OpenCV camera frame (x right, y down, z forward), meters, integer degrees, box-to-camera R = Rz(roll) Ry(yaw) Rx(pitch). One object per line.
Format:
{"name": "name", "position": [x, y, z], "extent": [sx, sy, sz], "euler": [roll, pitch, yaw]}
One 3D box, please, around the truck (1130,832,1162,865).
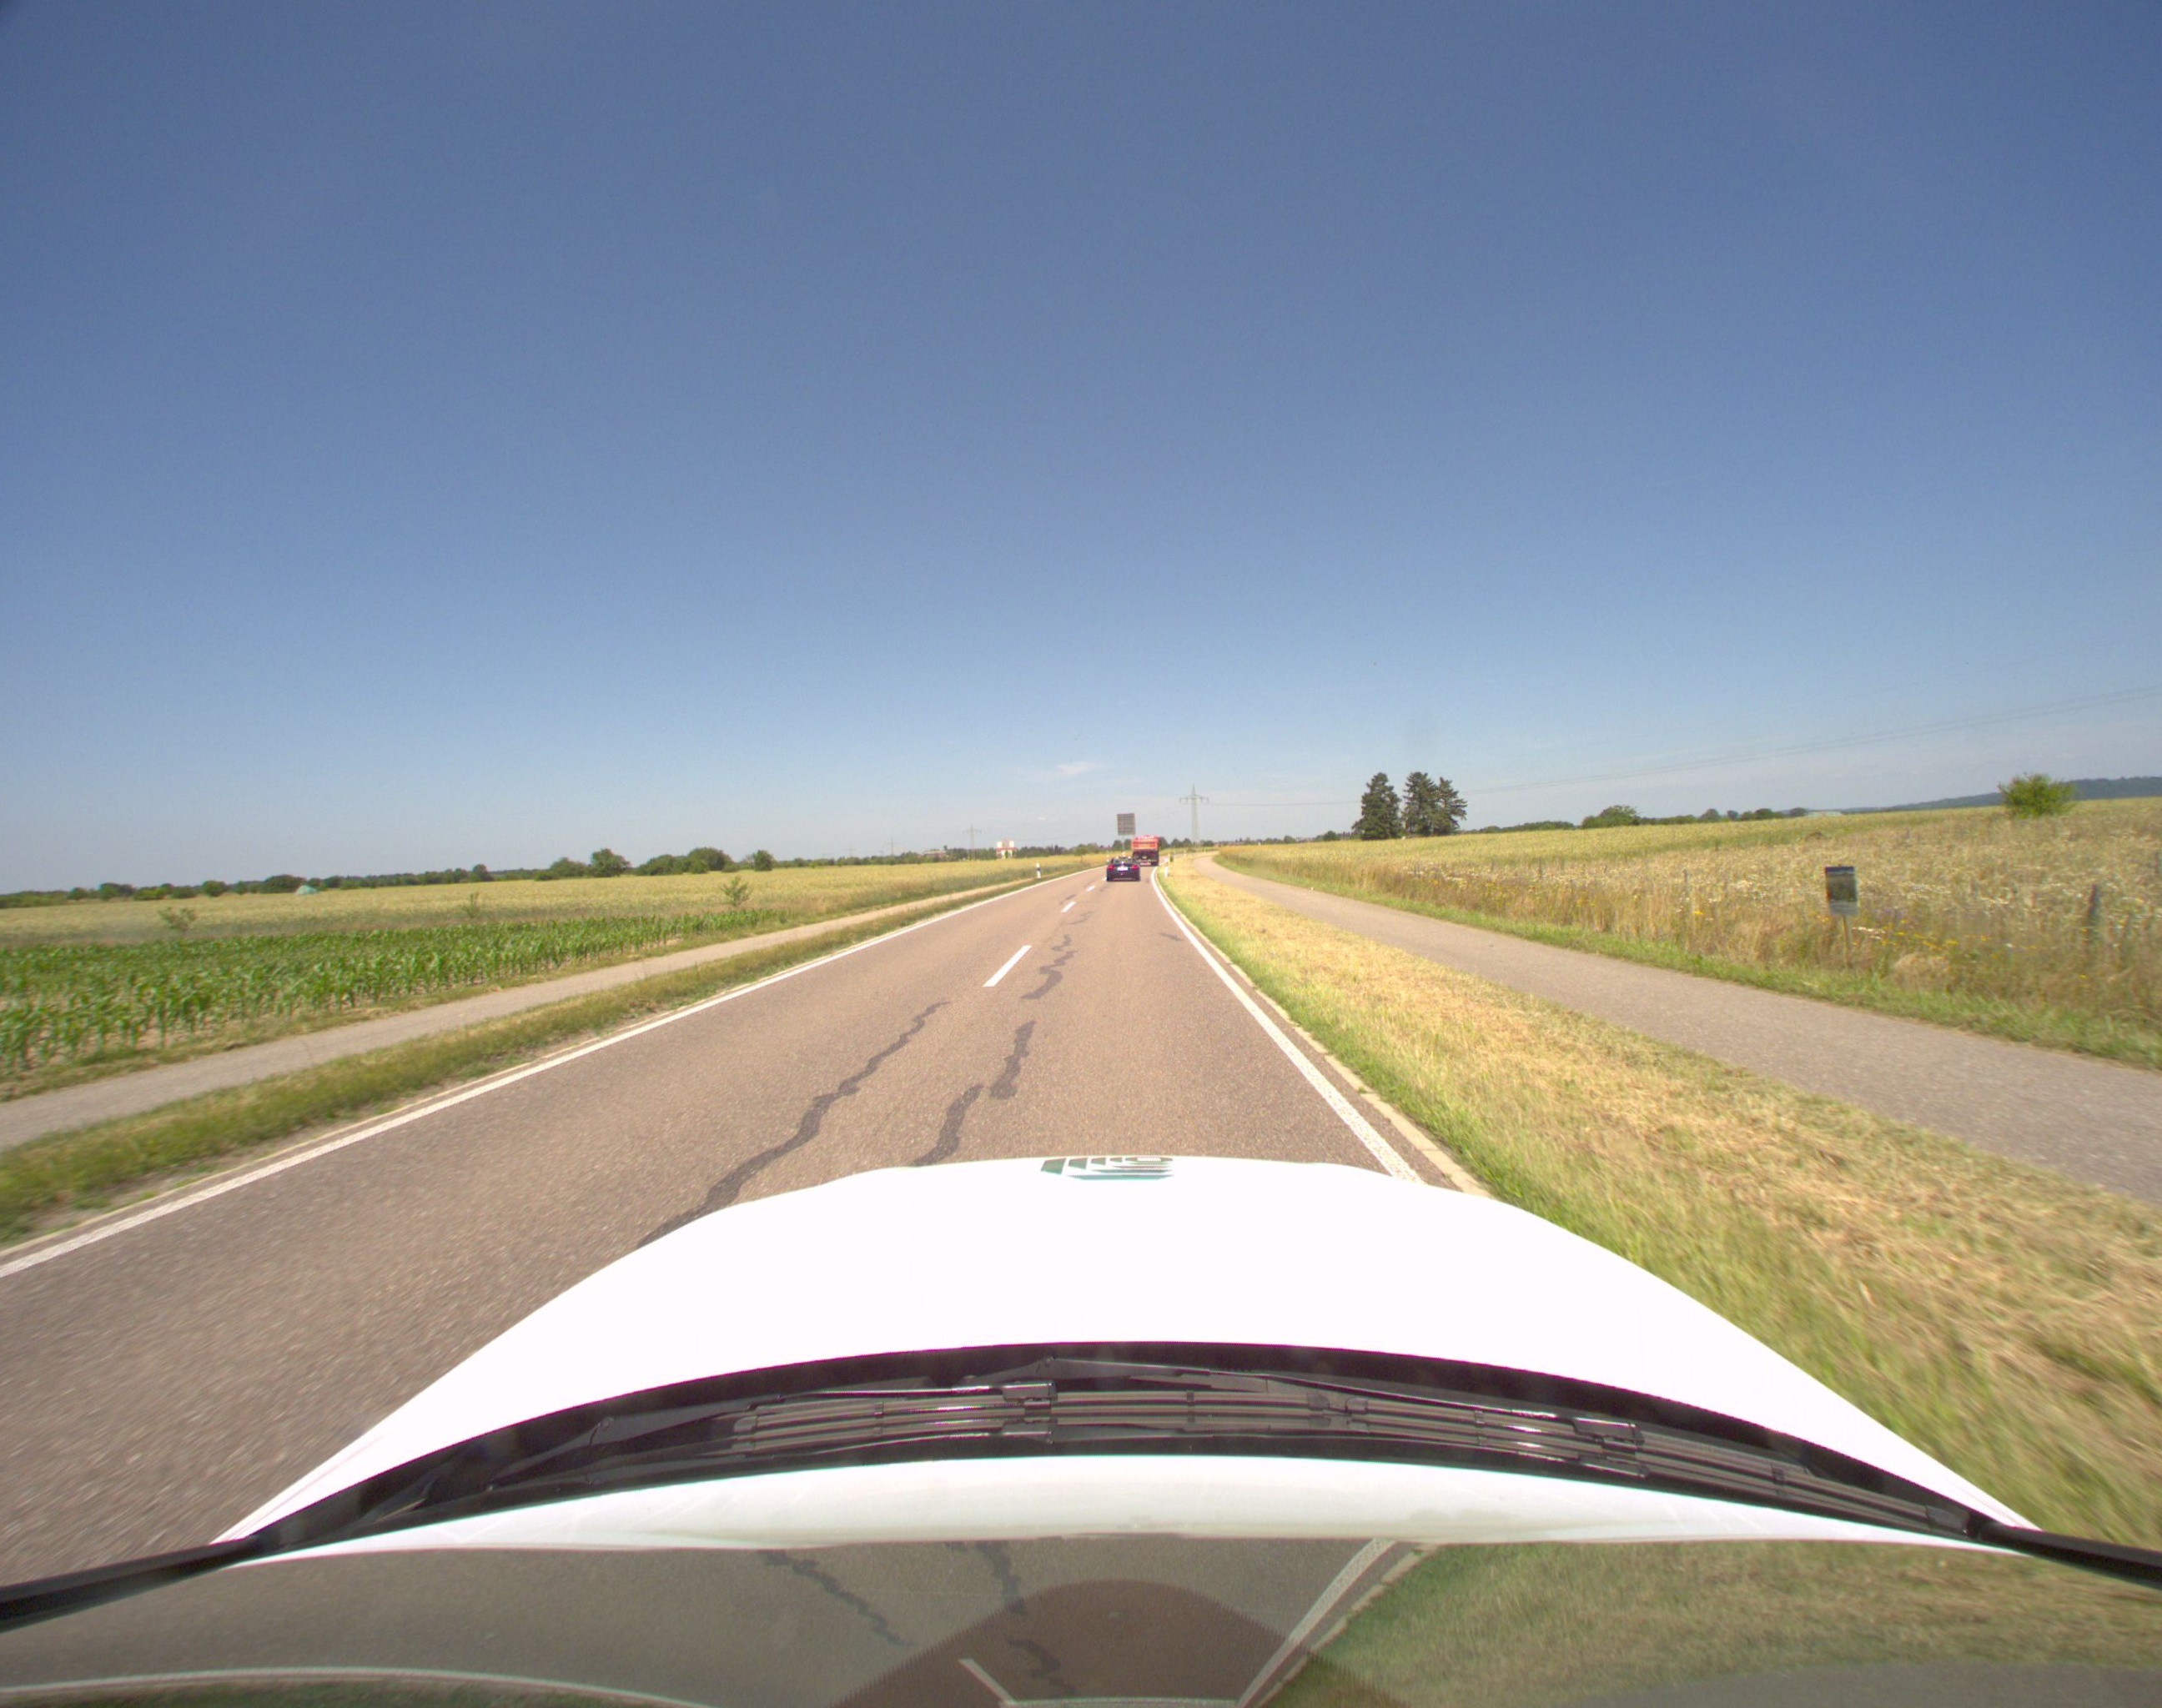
{"name": "truck", "position": [6.602, -0.474, 82.219], "extent": [2.924, 3.089, 7.206], "euler": [-2, -1, 5]}

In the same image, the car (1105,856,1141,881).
{"name": "car", "position": [2.282, 0.759, 43.711], "extent": [1.735, 1.280, 4.006], "euler": [-1, -1, 5]}
